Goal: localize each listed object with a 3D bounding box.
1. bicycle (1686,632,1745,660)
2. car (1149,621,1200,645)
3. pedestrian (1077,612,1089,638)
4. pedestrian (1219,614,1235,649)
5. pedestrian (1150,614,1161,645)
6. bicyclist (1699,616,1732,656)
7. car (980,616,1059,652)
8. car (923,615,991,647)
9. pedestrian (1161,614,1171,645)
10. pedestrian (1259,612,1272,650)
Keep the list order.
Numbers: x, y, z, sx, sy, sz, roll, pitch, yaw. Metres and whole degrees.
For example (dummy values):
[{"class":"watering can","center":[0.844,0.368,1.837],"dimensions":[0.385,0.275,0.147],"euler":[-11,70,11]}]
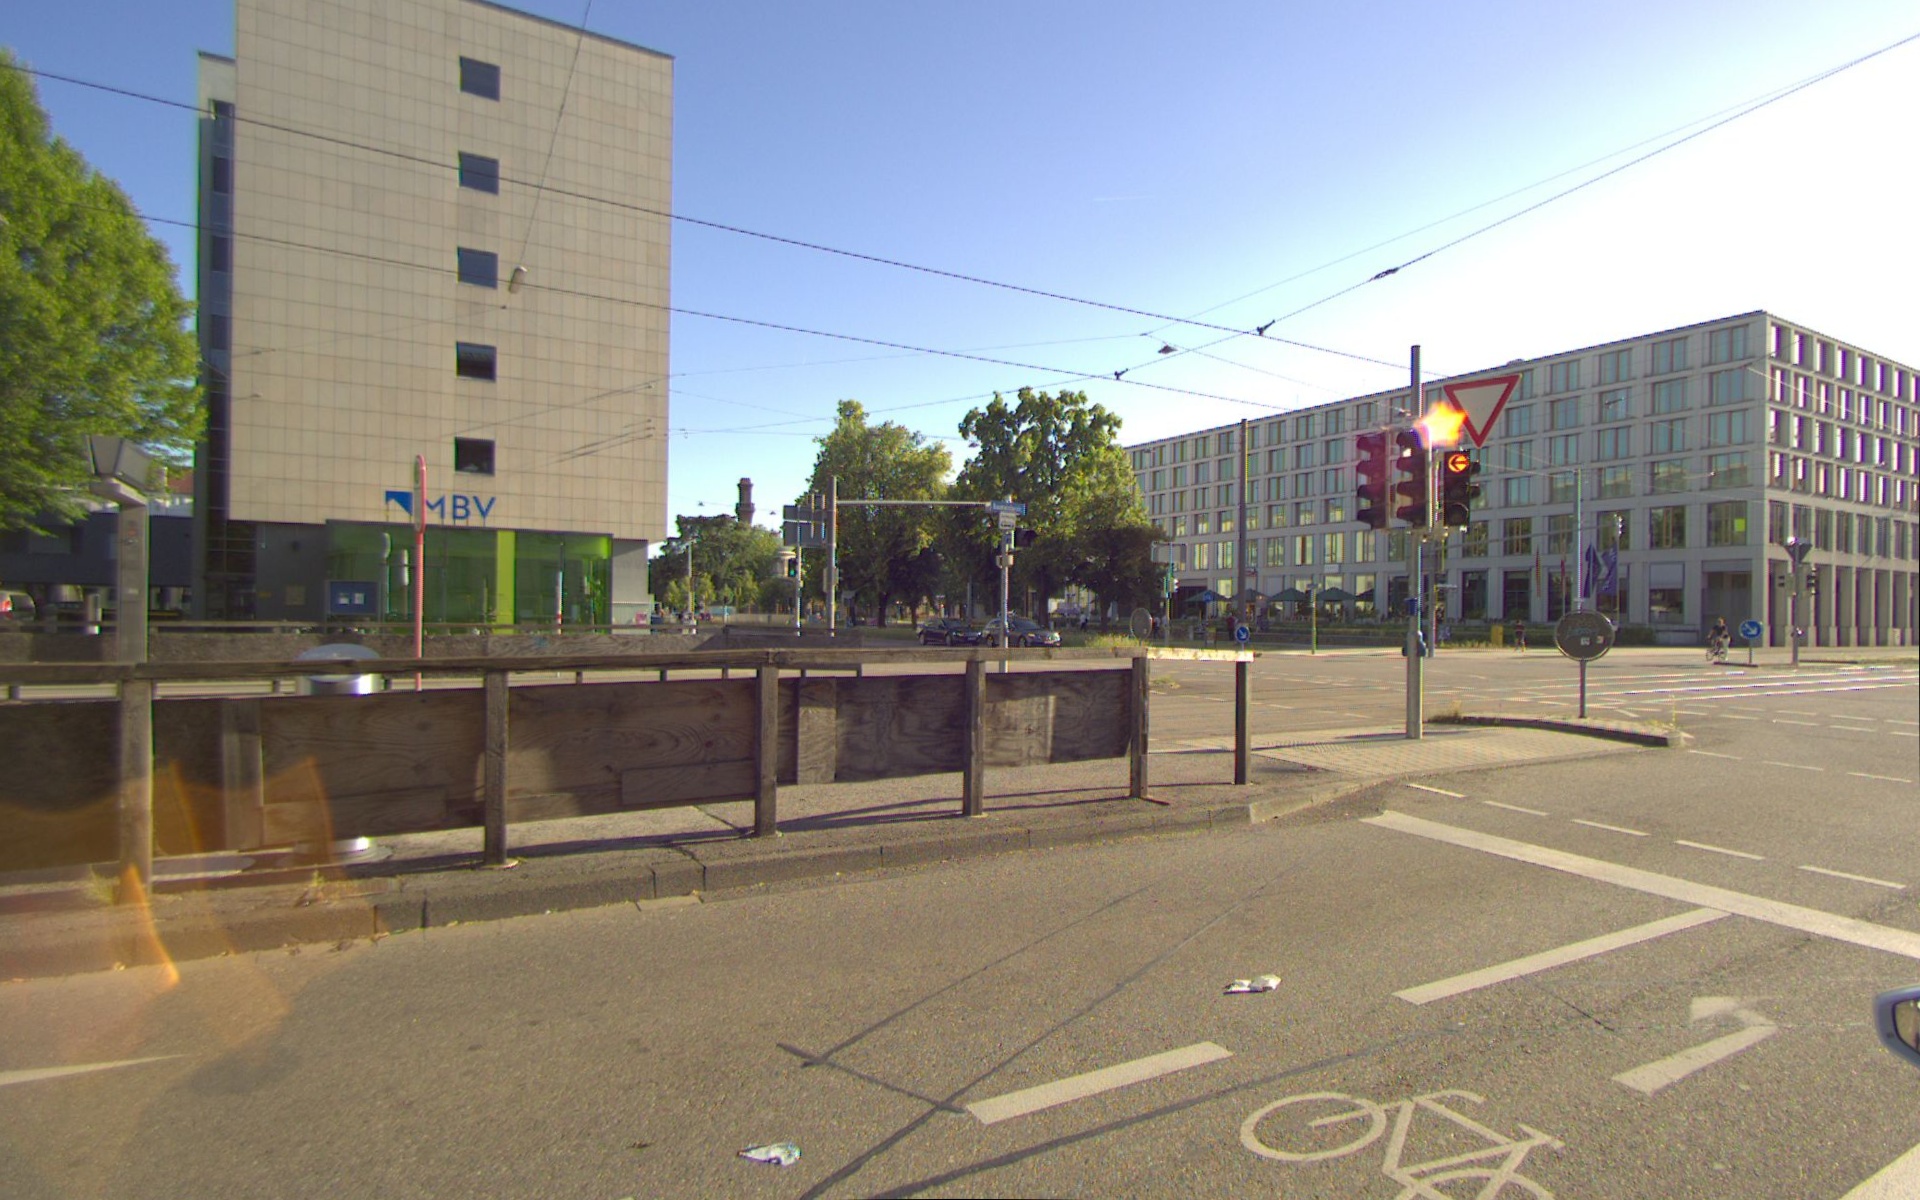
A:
[{"class":"bicycle","center":[31.969,1.920,42.492],"dimensions":[2.976,1.136,0.871],"euler":[1,-1,-29]},{"class":"car","center":[13.525,2.052,63.391],"dimensions":[1.452,1.457,3.173],"euler":[1,-1,-27]},{"class":"pedestrian","center":[9.066,1.816,73.789],"dimensions":[0.672,1.928,0.560],"euler":[1,-1,-21]},{"class":"pedestrian","center":[16.458,1.927,61.908],"dimensions":[0.644,2.095,0.645],"euler":[3,-2,-36]},{"class":"pedestrian","center":[12.892,1.934,66.290],"dimensions":[0.483,2.040,0.493],"euler":[1,-1,-17]},{"class":"bicyclist","center":[31.942,1.520,42.492],"dimensions":[0.812,1.663,0.872],"euler":[1,-1,-29]},{"class":"car","center":[2.749,1.576,47.225],"dimensions":[1.708,1.595,4.140],"euler":[1,-1,-31]},{"class":"car","center":[-0.196,1.591,52.743],"dimensions":[1.801,1.595,3.967],"euler":[0,0,-31]},{"class":"pedestrian","center":[13.696,1.960,66.753],"dimensions":[0.483,2.040,0.493],"euler":[1,-1,-17]},{"class":"pedestrian","center":[18.638,1.890,61.266],"dimensions":[0.528,2.310,0.565],"euler":[1,-1,-36]}]
